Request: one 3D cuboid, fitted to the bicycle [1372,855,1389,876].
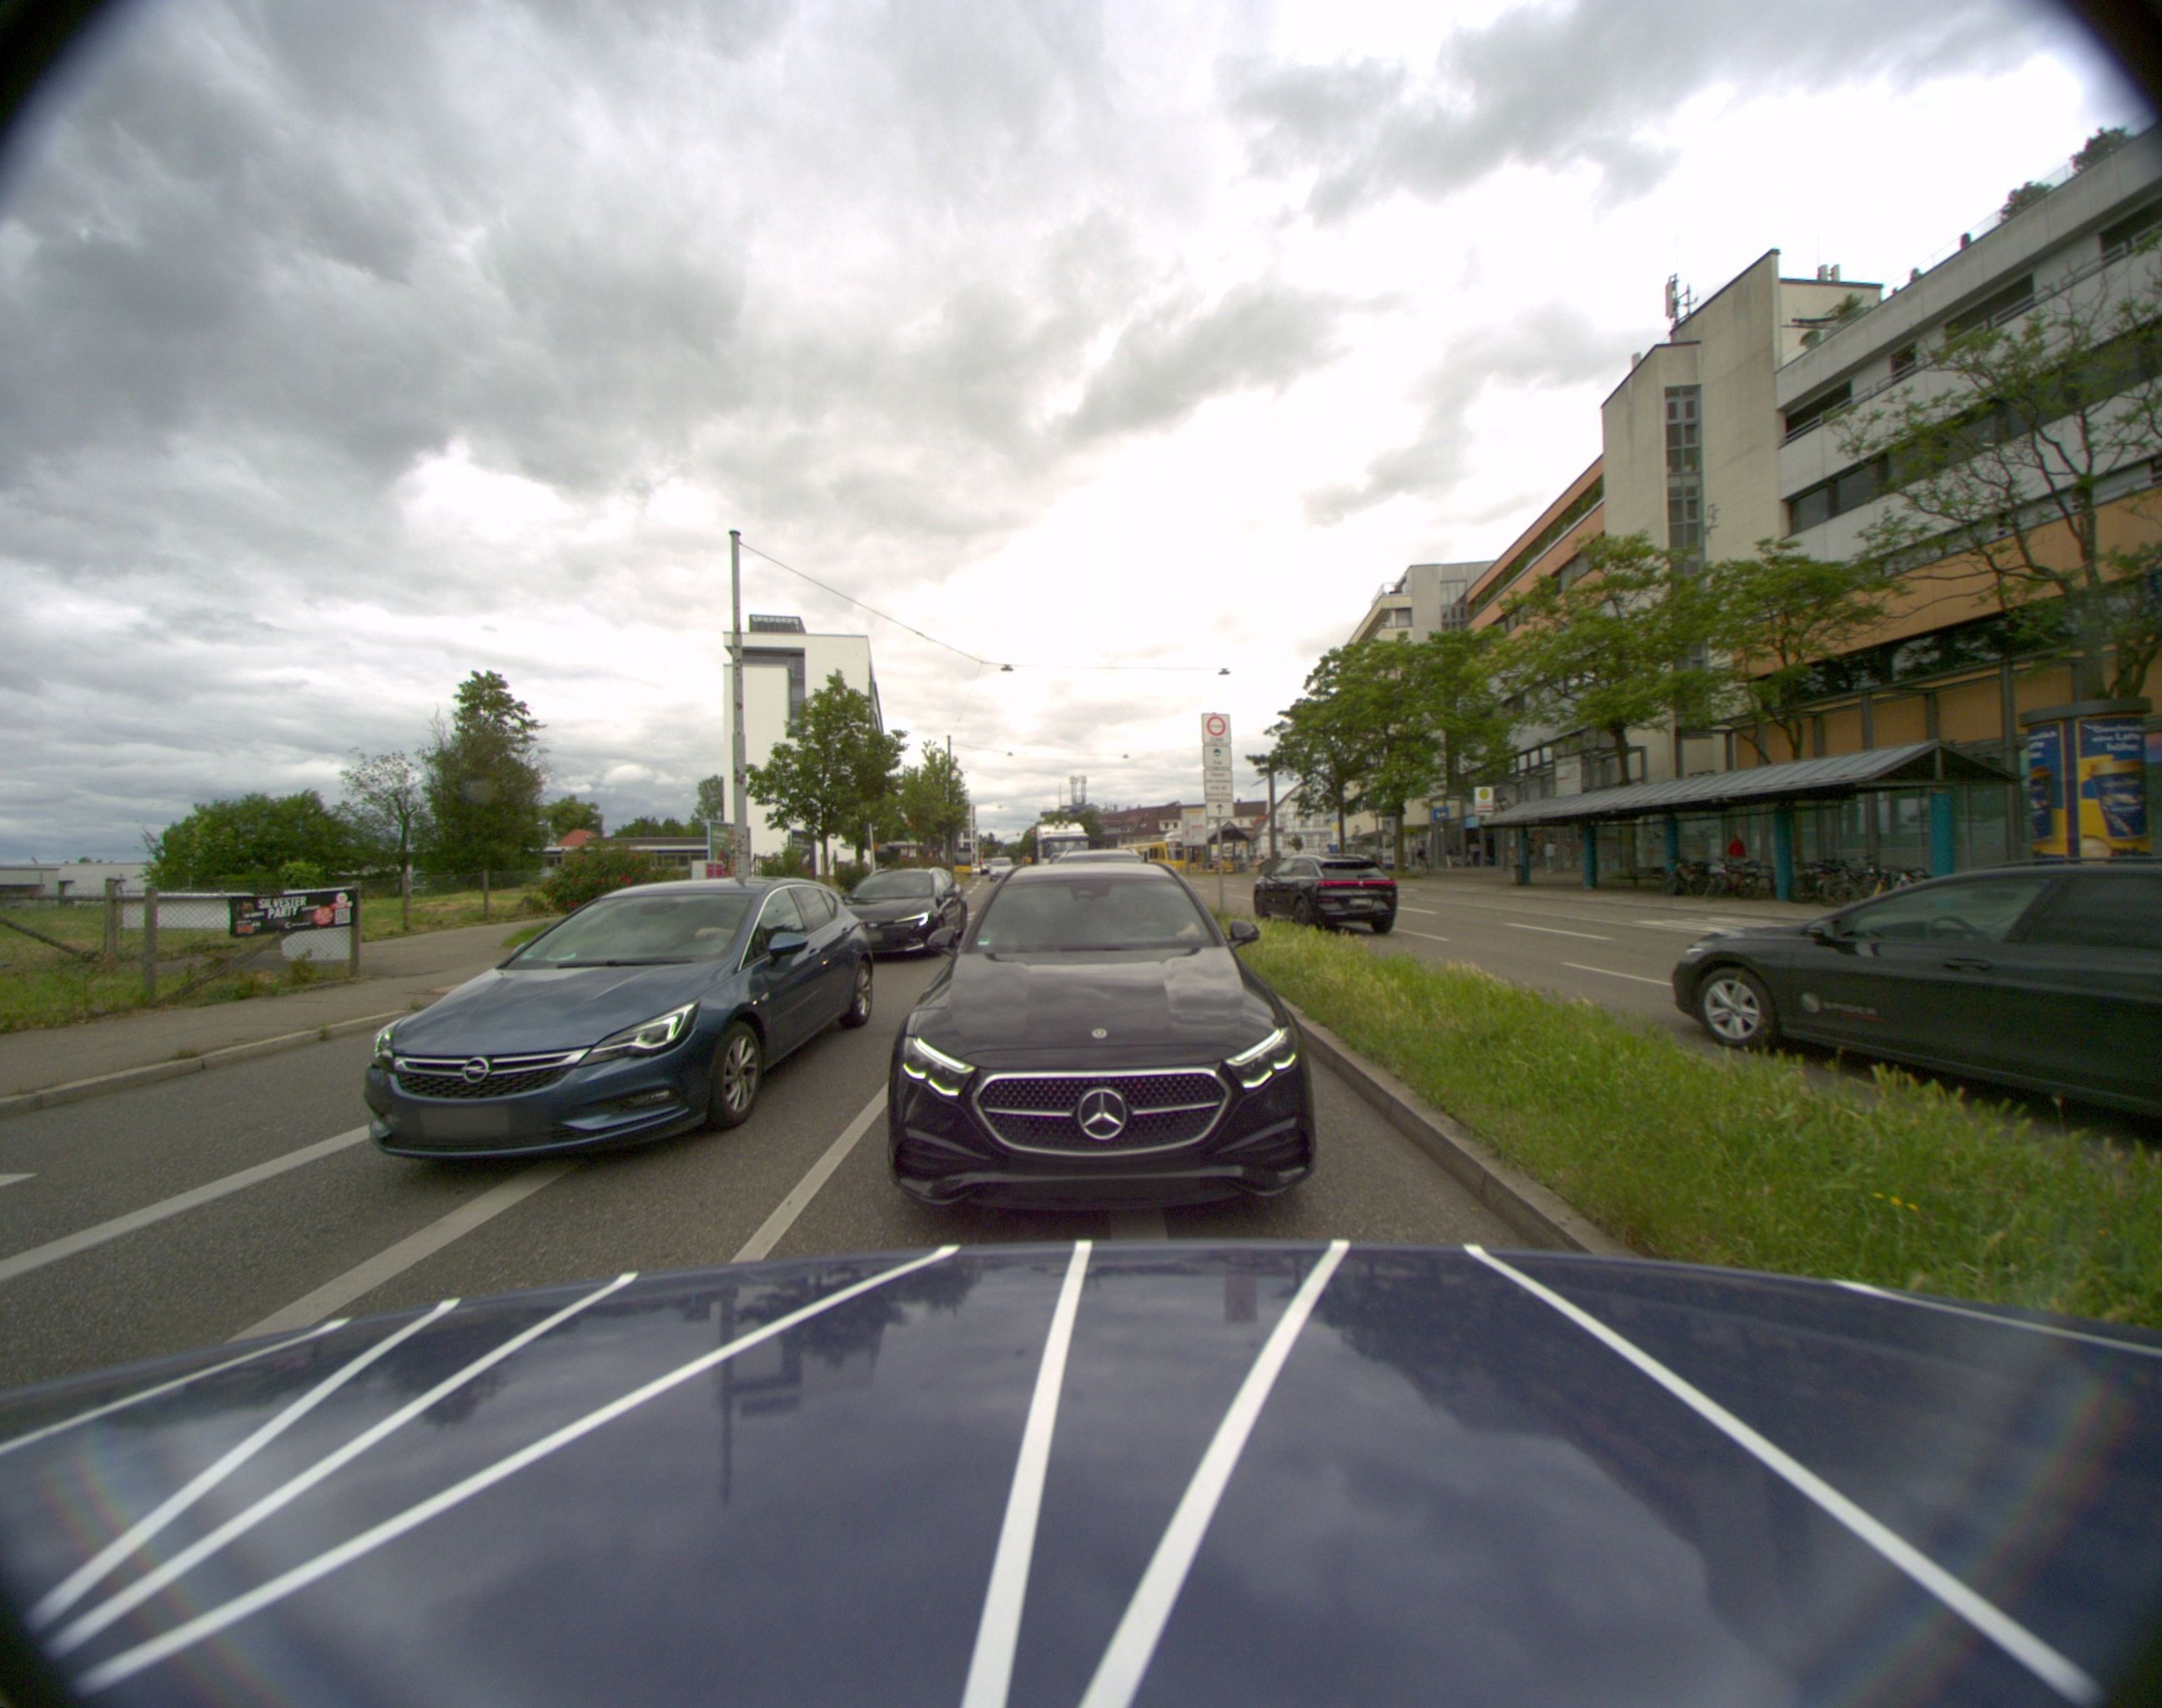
[{"bbox_3d":[16.402,0.633,41.636,0.593,1.071,2.041,0,1,29],"label":"bicycle"}]

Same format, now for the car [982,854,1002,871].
[{"bbox_3d":[-10.399,0.951,88.679,1.853,1.875,4.132,-3,0,-12],"label":"car"}]

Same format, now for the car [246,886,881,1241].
[{"bbox_3d":[-2.914,1.056,5.518,1.826,1.402,4.000,-2,0,0],"label":"car"}]

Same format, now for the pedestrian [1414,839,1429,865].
[{"bbox_3d":[24.450,-0.153,54.525,0.765,1.835,0.752,-1,1,1],"label":"pedestrian"}]

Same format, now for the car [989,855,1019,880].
[{"bbox_3d":[-5.536,0.926,54.230,1.852,1.606,3.780,-3,0,-8],"label":"car"}]

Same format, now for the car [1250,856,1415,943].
[{"bbox_3d":[5.023,0.826,15.836,1.840,1.512,4.069,0,1,-4],"label":"car"}]

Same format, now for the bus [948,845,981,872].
[{"bbox_3d":[-12.814,0.409,82.718,2.969,2.616,12.137,-2,1,-11],"label":"bus"}]

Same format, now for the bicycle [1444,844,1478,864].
[{"bbox_3d":[27.758,-0.014,55.541,2.138,1.358,0.620,-2,1,26],"label":"bicycle"}]

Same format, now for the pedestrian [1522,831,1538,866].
[{"bbox_3d":[25.817,-0.303,43.670,0.566,2.002,0.611,-1,1,6],"label":"pedestrian"}]

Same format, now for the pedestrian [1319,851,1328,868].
[{"bbox_3d":[22.087,0.469,69.314,0.577,1.533,0.583,-1,1,-8],"label":"pedestrian"}]

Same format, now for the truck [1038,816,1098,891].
[{"bbox_3d":[-0.766,-0.032,36.715,2.490,3.258,7.428,-1,0,-4],"label":"truck"}]

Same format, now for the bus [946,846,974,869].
[{"bbox_3d":[-15.219,0.366,95.041,2.969,2.616,12.911,-2,1,-11],"label":"bus"}]

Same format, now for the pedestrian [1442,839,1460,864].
[{"bbox_3d":[24.310,-0.163,49.922,0.765,1.673,0.752,-1,1,1],"label":"pedestrian"}]

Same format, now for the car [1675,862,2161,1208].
[{"bbox_3d":[5.803,0.871,4.032,1.714,1.472,4.285,-2,1,-5],"label":"car"}]

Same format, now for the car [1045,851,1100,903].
[{"bbox_3d":[-0.366,0.786,28.336,1.865,1.773,3.999,-1,0,-2],"label":"car"}]

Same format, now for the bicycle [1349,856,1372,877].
[{"bbox_3d":[15.479,0.666,42.007,0.593,1.071,2.041,0,1,38],"label":"bicycle"}]

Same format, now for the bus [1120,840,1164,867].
[{"bbox_3d":[6.937,-0.062,87.941,2.556,2.966,9.790,-1,0,-11],"label":"bus"}]

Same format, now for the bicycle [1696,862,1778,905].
[{"bbox_3d":[17.948,0.798,20.800,1.735,1.035,0.549,-3,1,-2],"label":"bicycle"}]

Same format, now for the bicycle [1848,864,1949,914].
[{"bbox_3d":[18.685,0.791,17.388,1.735,1.035,0.549,-2,1,-2],"label":"bicycle"}]

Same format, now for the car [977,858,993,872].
[{"bbox_3d":[-13.237,1.446,104.717,2.000,1.811,3.996,-1,0,-10],"label":"car"}]

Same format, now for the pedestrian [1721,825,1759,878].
[{"bbox_3d":[25.217,-0.104,29.097,0.710,2.002,0.793,-2,1,-10],"label":"pedestrian"}]

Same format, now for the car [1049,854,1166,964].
[{"bbox_3d":[0.392,0.828,13.473,1.734,1.601,4.000,-2,0,0],"label":"car"}]

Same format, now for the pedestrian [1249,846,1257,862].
[{"bbox_3d":[22.410,0.011,99.052,0.879,2.002,1.010,-1,1,6],"label":"pedestrian"}]

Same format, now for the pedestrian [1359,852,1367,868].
[{"bbox_3d":[25.343,0.552,68.352,0.555,1.485,0.454,-1,1,8],"label":"pedestrian"}]

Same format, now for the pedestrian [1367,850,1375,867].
[{"bbox_3d":[25.939,0.376,67.920,0.555,1.485,0.454,-1,1,8],"label":"pedestrian"}]

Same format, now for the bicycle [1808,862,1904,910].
[{"bbox_3d":[18.626,0.759,18.273,1.735,1.035,0.549,-3,1,-2],"label":"bicycle"}]

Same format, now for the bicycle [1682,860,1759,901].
[{"bbox_3d":[18.283,0.751,21.732,1.735,1.035,0.549,-4,1,-2],"label":"bicycle"}]

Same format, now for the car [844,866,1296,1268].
[{"bbox_3d":[-0.054,0.890,5.181,1.793,1.507,4.249,-1,0,0],"label":"car"}]

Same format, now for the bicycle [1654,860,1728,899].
[{"bbox_3d":[18.205,0.756,22.693,1.735,1.035,0.549,-3,1,-2],"label":"bicycle"}]

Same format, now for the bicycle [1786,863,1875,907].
[{"bbox_3d":[19.025,0.782,19.298,1.735,1.035,0.549,-2,1,-2],"label":"bicycle"}]

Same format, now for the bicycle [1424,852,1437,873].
[{"bbox_3d":[19.487,0.480,42.375,0.593,1.119,2.040,0,1,24],"label":"bicycle"}]

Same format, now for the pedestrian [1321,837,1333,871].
[{"bbox_3d":[16.836,-0.005,51.970,0.590,2.294,0.608,-1,1,-2],"label":"pedestrian"}]

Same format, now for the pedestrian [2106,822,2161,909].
[{"bbox_3d":[22.162,0.228,15.837,0.531,1.776,0.770,-1,1,-7],"label":"pedestrian"}]

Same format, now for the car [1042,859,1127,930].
[{"bbox_3d":[0.044,0.919,18.899,1.865,1.520,3.999,-1,0,-1],"label":"car"}]

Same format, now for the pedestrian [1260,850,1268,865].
[{"bbox_3d":[19.277,0.381,80.104,0.577,1.533,0.583,-1,1,-8],"label":"pedestrian"}]

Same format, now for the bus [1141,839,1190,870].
[{"bbox_3d":[8.702,0.021,79.005,2.556,2.966,8.498,-1,0,-11],"label":"bus"}]

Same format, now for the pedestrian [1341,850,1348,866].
[{"bbox_3d":[19.384,0.308,55.923,0.341,1.172,0.369,-1,1,-9],"label":"pedestrian"}]

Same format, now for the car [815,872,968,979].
[{"bbox_3d":[-3.114,1.112,13.290,1.665,1.448,3.921,-2,0,0],"label":"car"}]

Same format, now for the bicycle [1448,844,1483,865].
[{"bbox_3d":[26.995,0.043,53.390,2.139,1.367,0.620,-2,1,18],"label":"bicycle"}]

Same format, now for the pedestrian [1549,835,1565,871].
[{"bbox_3d":[24.099,-0.038,38.478,0.648,1.799,0.761,0,1,34],"label":"pedestrian"}]
